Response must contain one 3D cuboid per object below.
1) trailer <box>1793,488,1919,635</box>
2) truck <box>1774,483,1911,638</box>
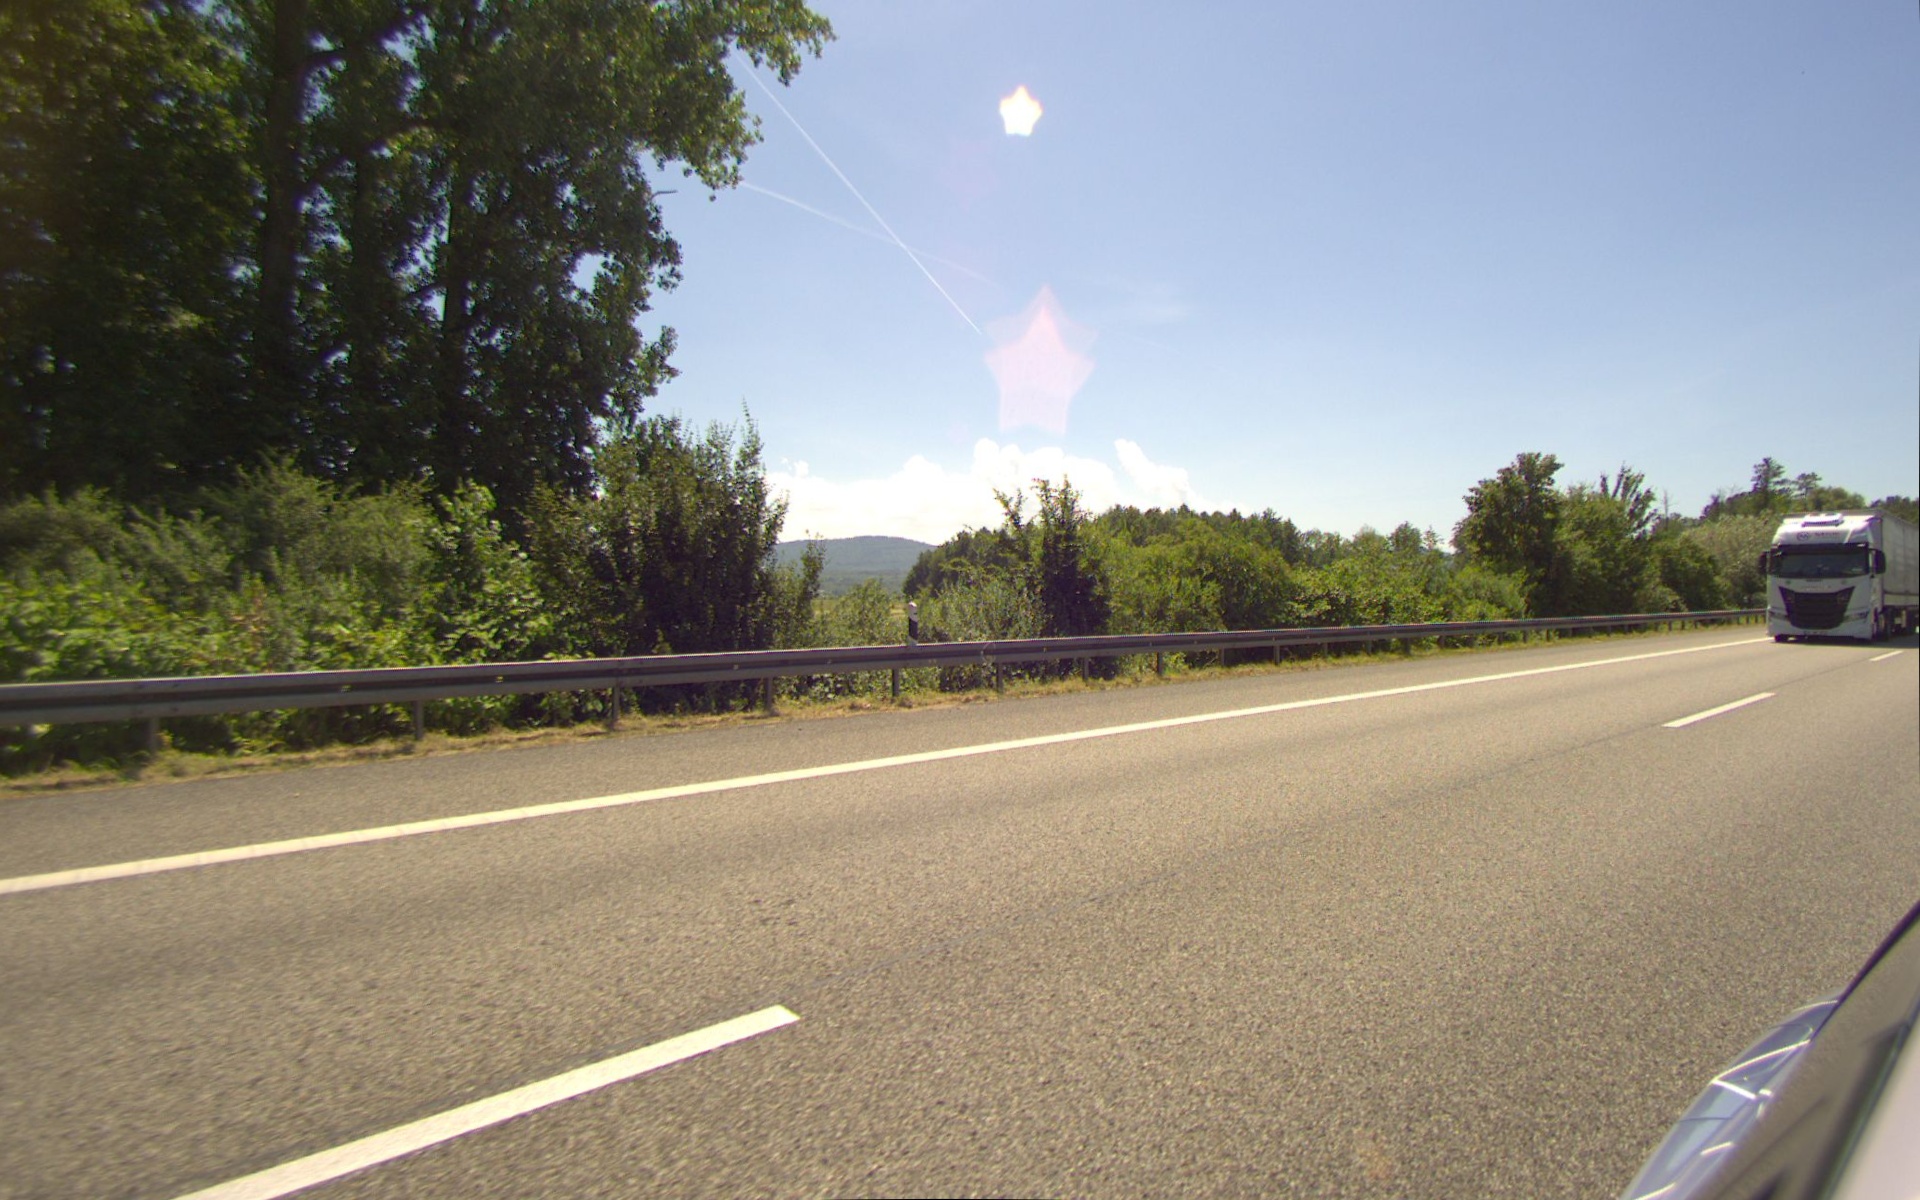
[{"bbox_3d":[33.408,-1.268,36.752,13.912,4.528,2.540,-1,0,-41],"label":"trailer"},{"bbox_3d":[28.139,-1.189,32.204,5.475,4.528,2.540,-1,0,-41],"label":"truck"}]
